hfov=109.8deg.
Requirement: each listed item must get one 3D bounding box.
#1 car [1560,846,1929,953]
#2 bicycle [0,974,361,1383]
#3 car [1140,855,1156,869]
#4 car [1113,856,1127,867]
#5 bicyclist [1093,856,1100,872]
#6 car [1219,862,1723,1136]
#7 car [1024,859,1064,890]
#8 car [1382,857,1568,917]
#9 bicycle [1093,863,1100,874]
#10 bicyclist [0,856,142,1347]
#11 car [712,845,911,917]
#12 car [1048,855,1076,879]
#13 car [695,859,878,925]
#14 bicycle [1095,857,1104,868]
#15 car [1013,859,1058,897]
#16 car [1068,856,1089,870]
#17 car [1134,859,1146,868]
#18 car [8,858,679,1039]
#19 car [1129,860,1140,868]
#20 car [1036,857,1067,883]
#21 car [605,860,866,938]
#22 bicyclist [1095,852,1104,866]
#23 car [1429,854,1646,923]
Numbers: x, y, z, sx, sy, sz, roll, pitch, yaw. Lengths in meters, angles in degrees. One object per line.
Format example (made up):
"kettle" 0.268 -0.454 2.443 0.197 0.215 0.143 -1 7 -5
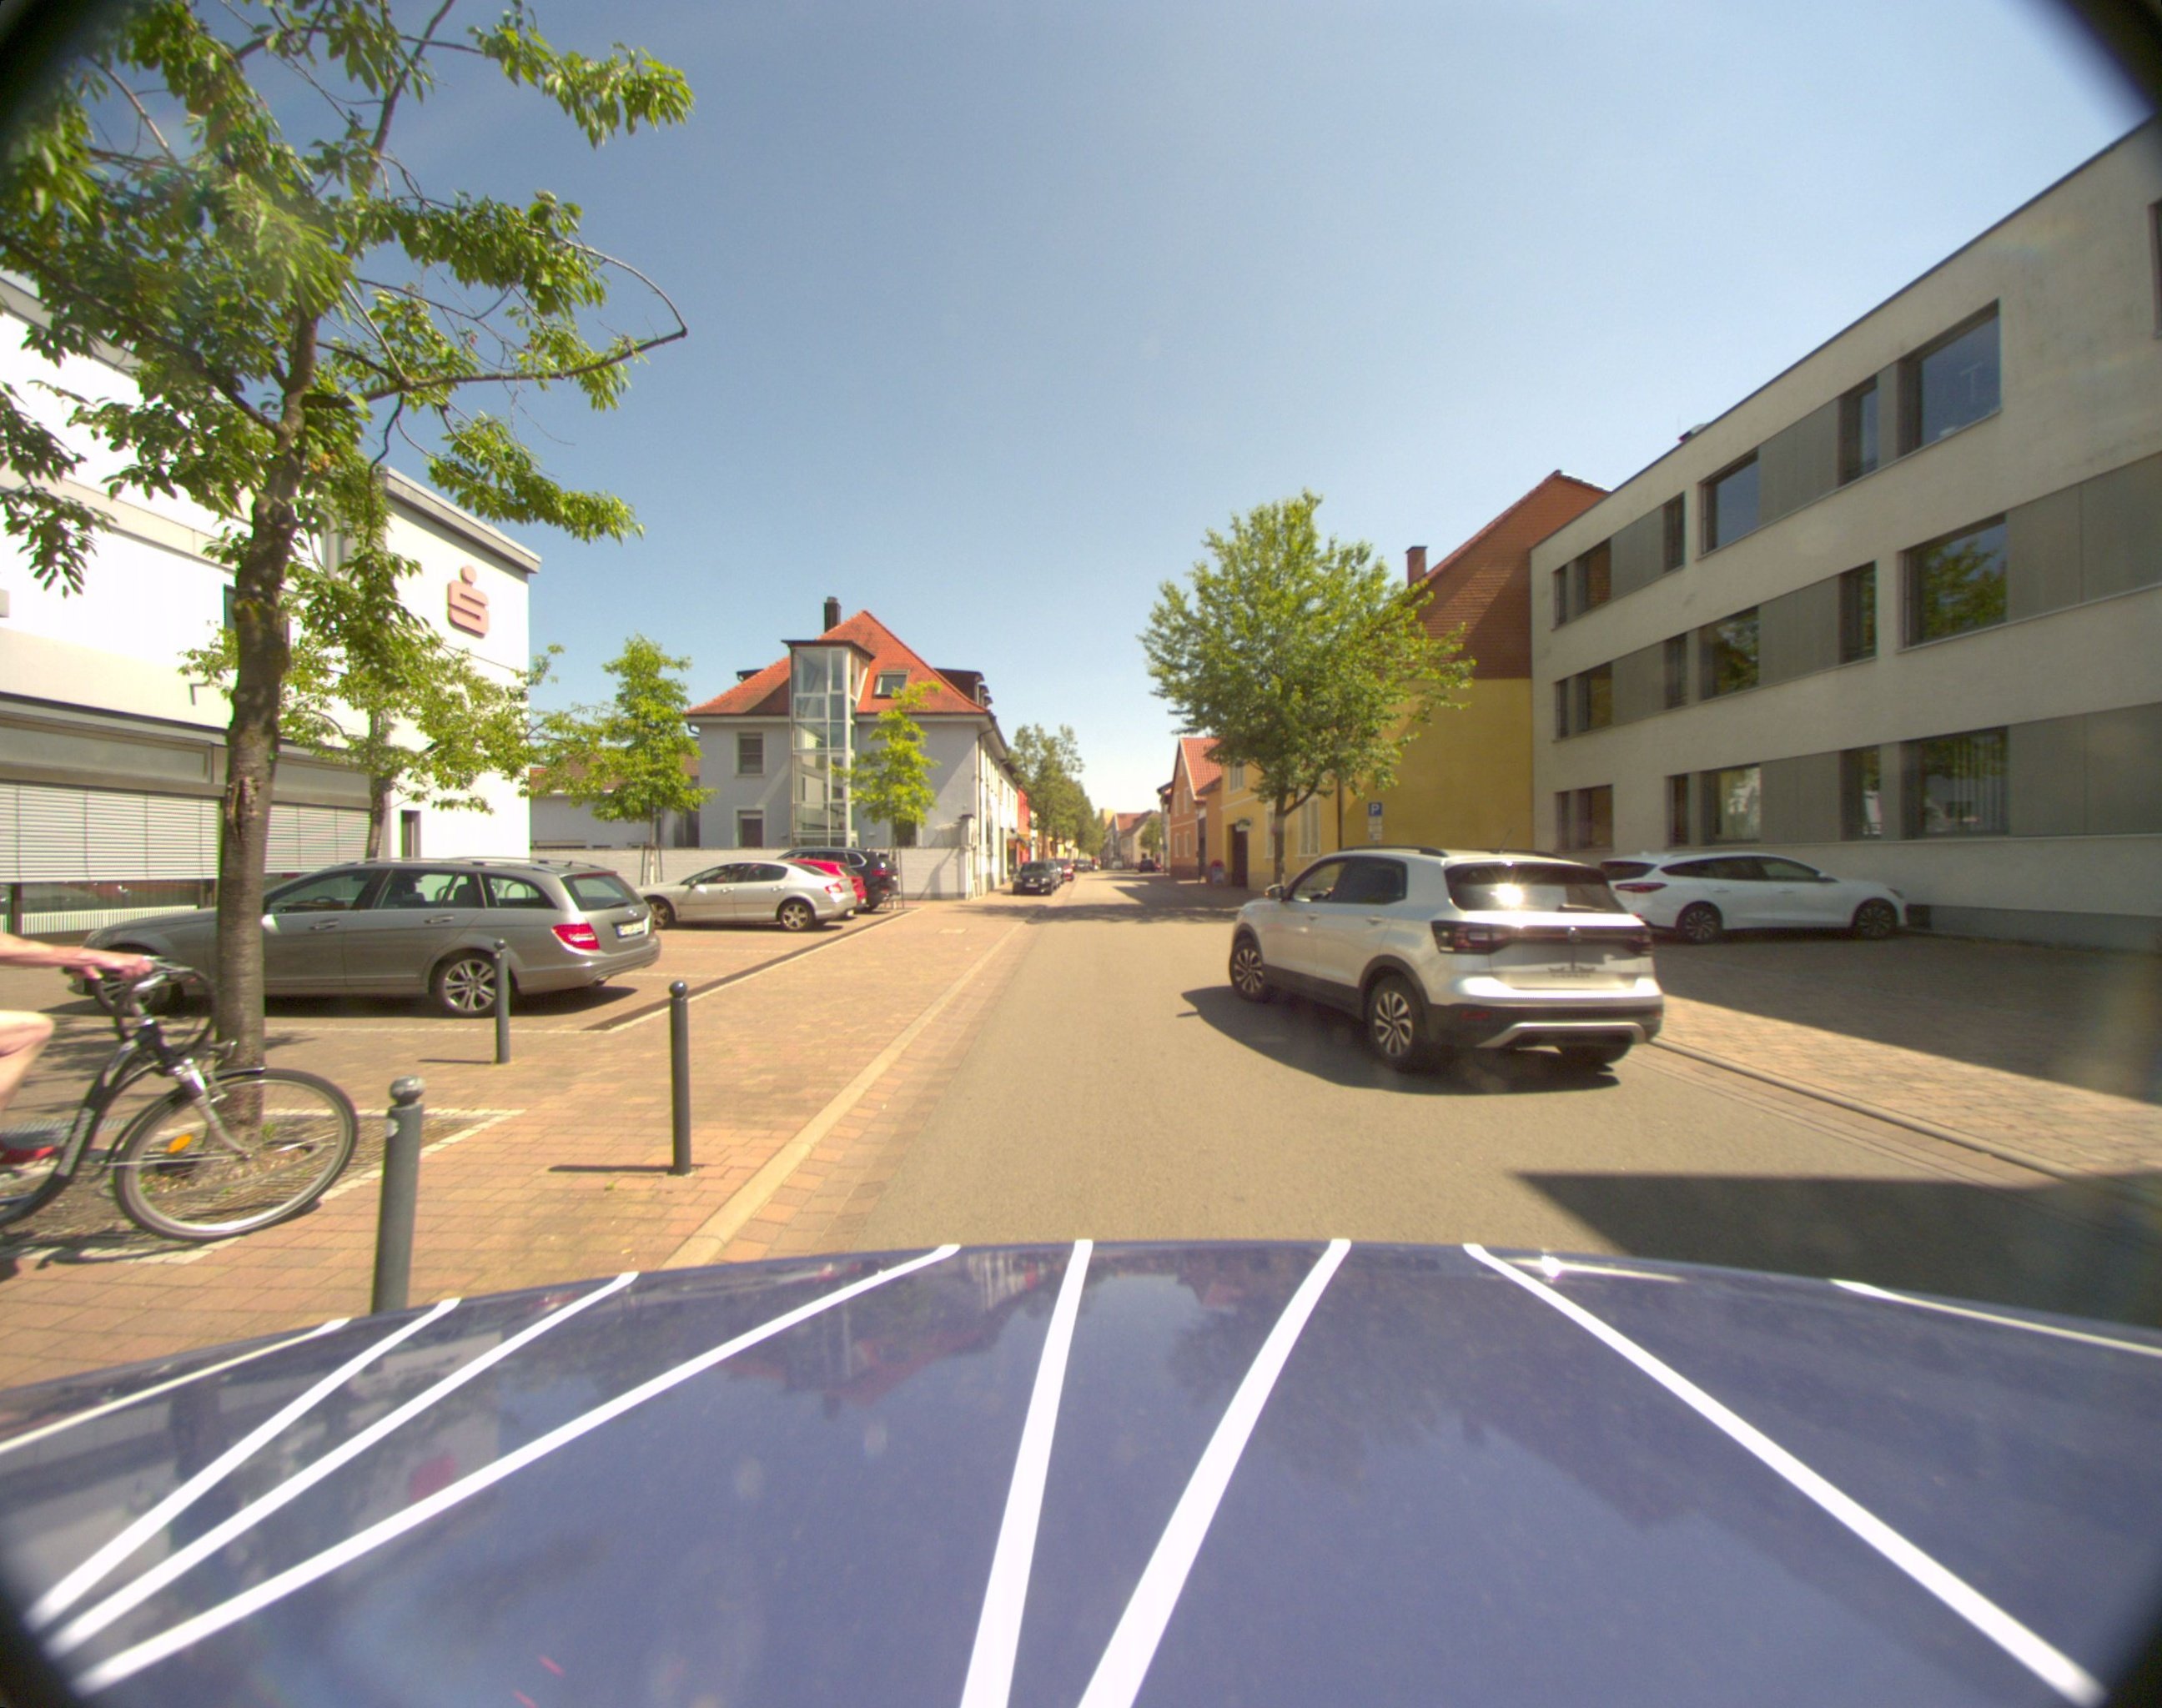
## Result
"car" 10.933 0.704 12.786 4.515 1.545 1.935 -1 1 0
"bicycle" -3.688 1.082 2.442 0.674 1.102 1.900 1 0 36
"car" 8.022 0.964 90.723 1.862 1.620 4.049 0 0 7
"car" 7.909 1.500 153.512 2.443 2.223 4.960 0 0 -2
"bicyclist" 1.809 1.113 86.978 0.645 1.766 0.722 2 -1 7
"car" 2.743 0.860 6.519 1.857 1.564 3.997 0 0 -9
"car" -1.857 1.010 38.982 1.721 1.472 4.096 1 0 2
"car" 10.548 0.852 20.550 3.998 1.422 1.972 -2 -1 -3
"bicycle" 1.792 1.628 87.018 0.635 1.227 1.895 2 -2 7
"bicyclist" -3.679 0.766 2.456 0.669 1.518 0.763 1 0 36
"car" -7.197 0.727 20.738 4.643 1.760 2.147 1 -1 -2
"car" -1.356 0.886 52.883 1.834 1.579 4.087 -1 0 -2
"car" -7.008 0.886 18.406 3.740 1.444 1.744 1 0 -5
"bicycle" 2.279 1.022 92.176 0.959 1.363 2.407 0 0 4
"car" -1.947 1.005 33.259 1.708 1.472 3.921 1 0 0
"car" -0.225 1.018 90.479 1.928 1.594 4.111 0 0 8
"car" 10.404 1.677 135.115 1.572 1.452 3.800 -1 0 -4
"car" -6.844 0.855 7.578 4.589 1.504 1.915 1 0 -5
"car" 9.976 1.841 141.264 1.572 1.452 3.800 -1 0 -4
"car" -1.806 0.983 46.840 1.741 1.504 3.736 0 -1 0
"car" -7.007 0.905 15.831 4.549 1.432 1.839 1 0 -5
"bicyclist" 2.261 0.599 92.028 1.028 1.635 1.025 0 0 4
"car" 10.616 0.789 17.890 3.997 1.442 1.808 -2 -1 0
